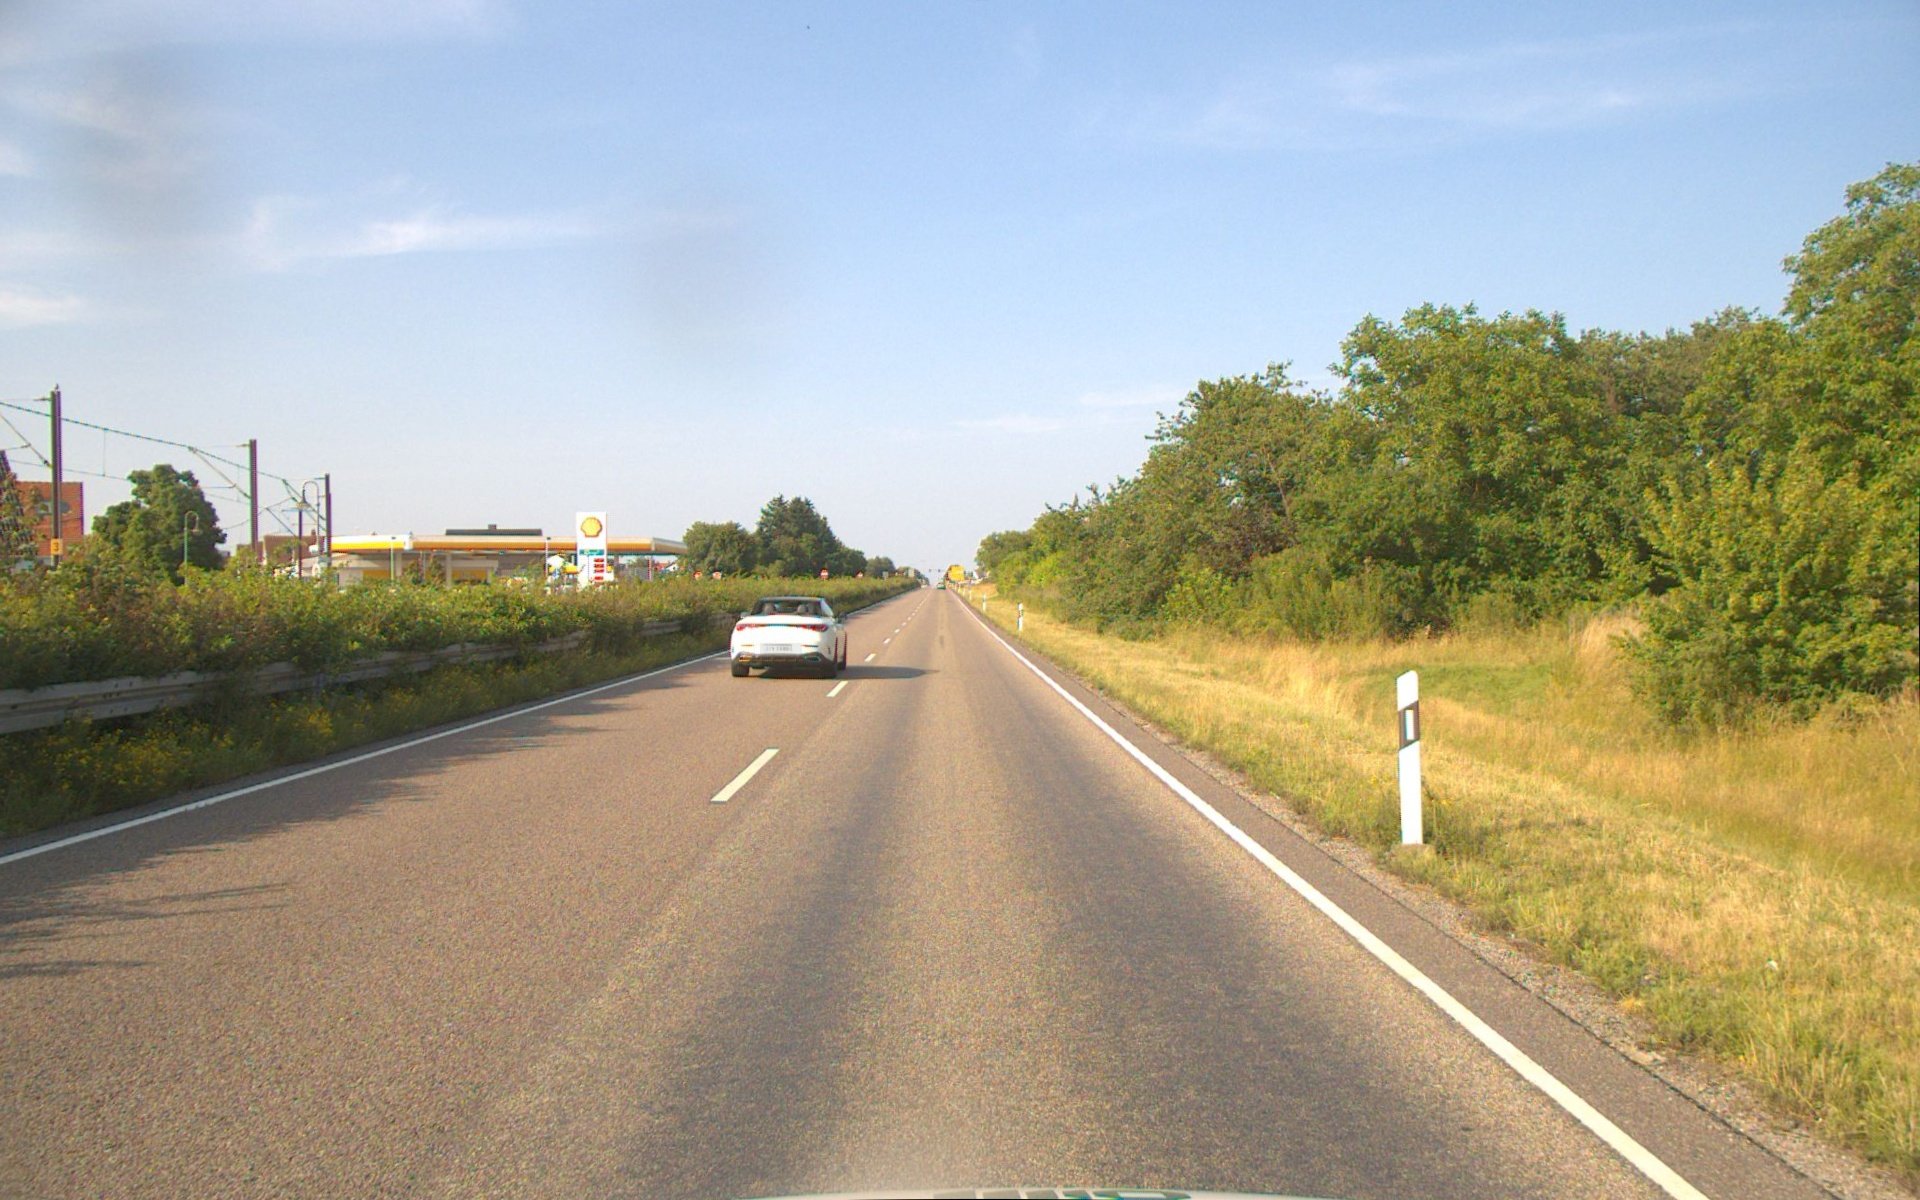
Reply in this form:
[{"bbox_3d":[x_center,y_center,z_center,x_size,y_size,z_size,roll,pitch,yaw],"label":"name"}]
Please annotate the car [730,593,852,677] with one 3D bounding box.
[{"bbox_3d":[-2.989,0.575,30.193,1.735,1.361,4.949,1,0,0],"label":"car"}]
